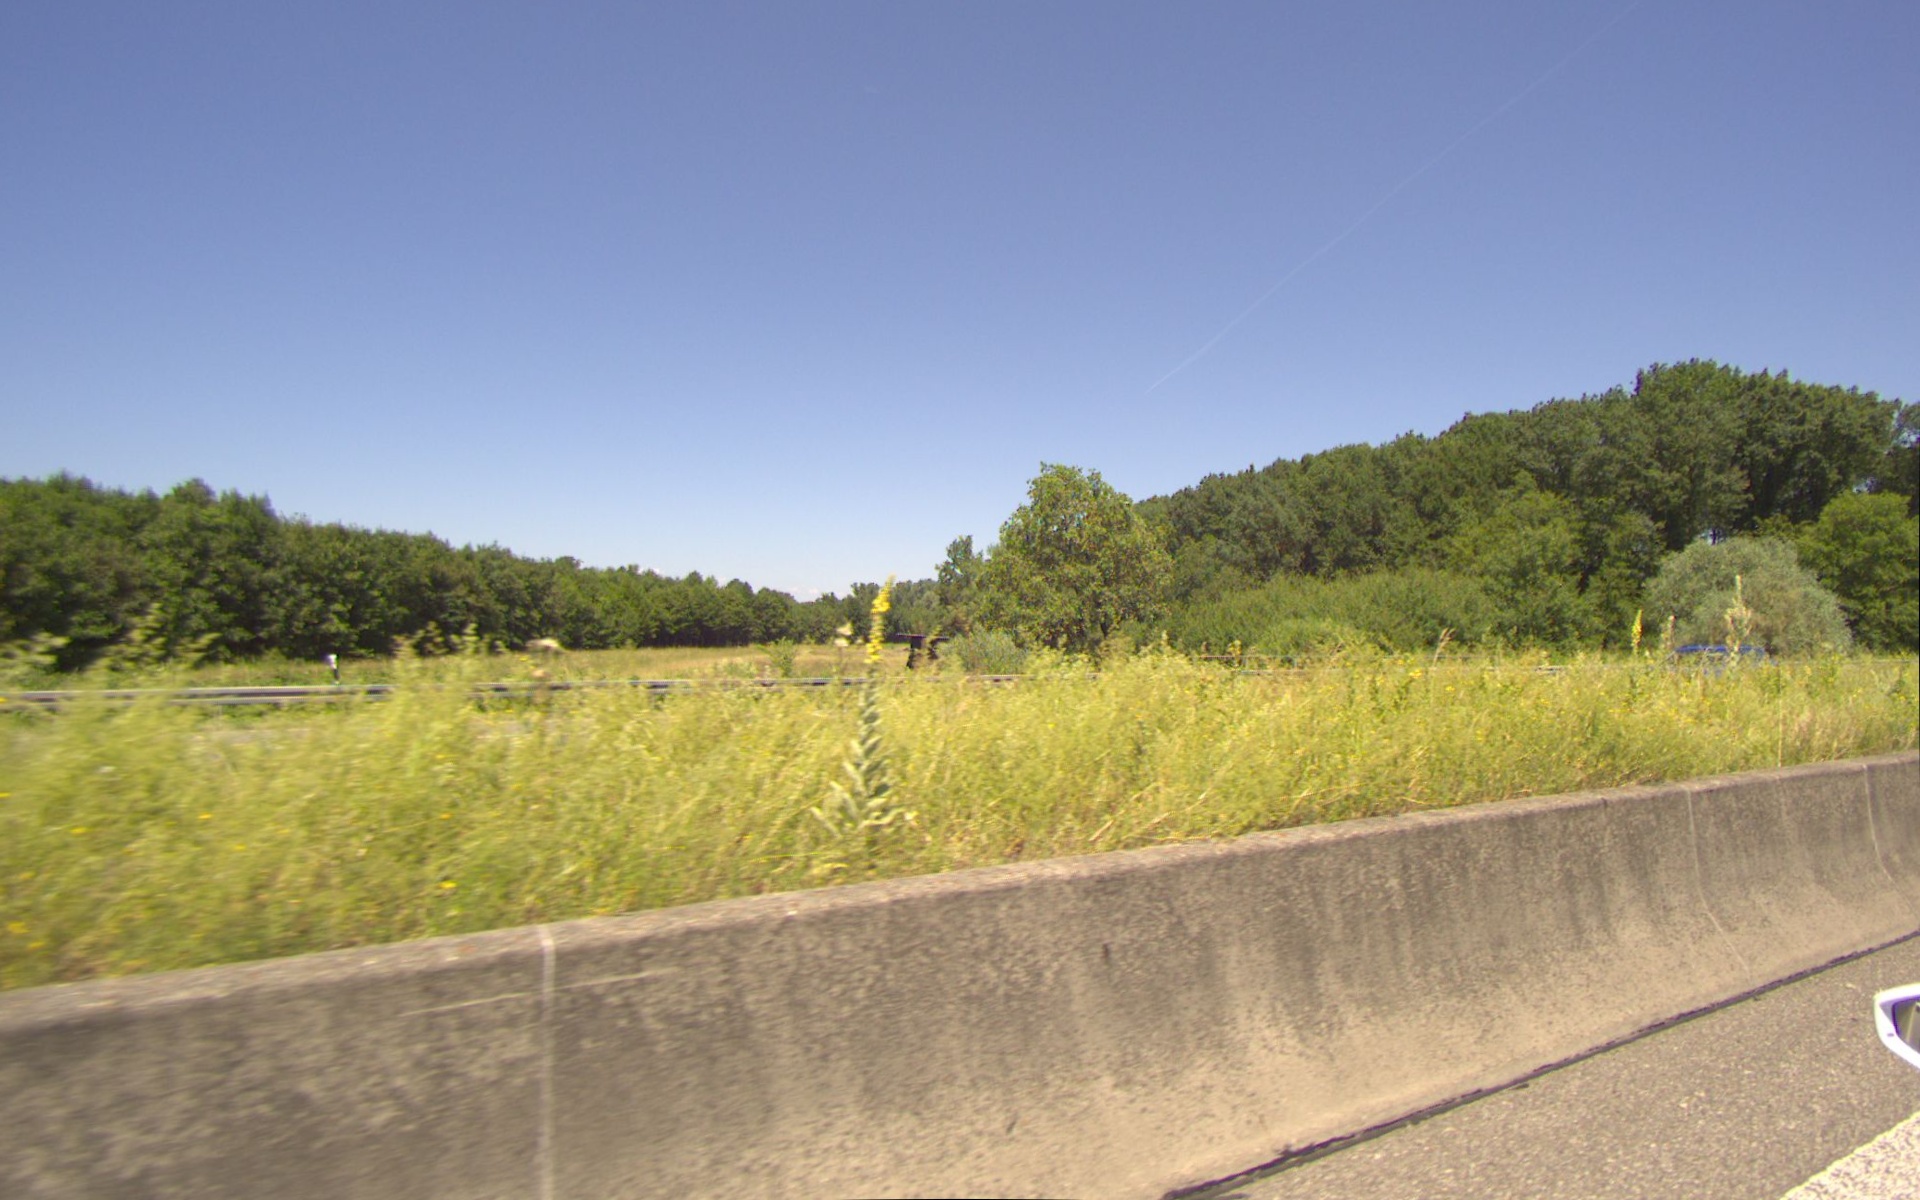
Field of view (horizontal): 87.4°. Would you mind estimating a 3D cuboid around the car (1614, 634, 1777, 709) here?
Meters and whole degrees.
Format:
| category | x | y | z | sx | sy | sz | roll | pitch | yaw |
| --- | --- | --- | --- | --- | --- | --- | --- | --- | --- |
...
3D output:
| category | x | y | z | sx | sy | sz | roll | pitch | yaw |
| --- | --- | --- | --- | --- | --- | --- | --- | --- | --- |
| car | 18.909 | 1.768 | 25.796 | 4.440 | 1.771 | 1.921 | 1 | -2 | -33 |
